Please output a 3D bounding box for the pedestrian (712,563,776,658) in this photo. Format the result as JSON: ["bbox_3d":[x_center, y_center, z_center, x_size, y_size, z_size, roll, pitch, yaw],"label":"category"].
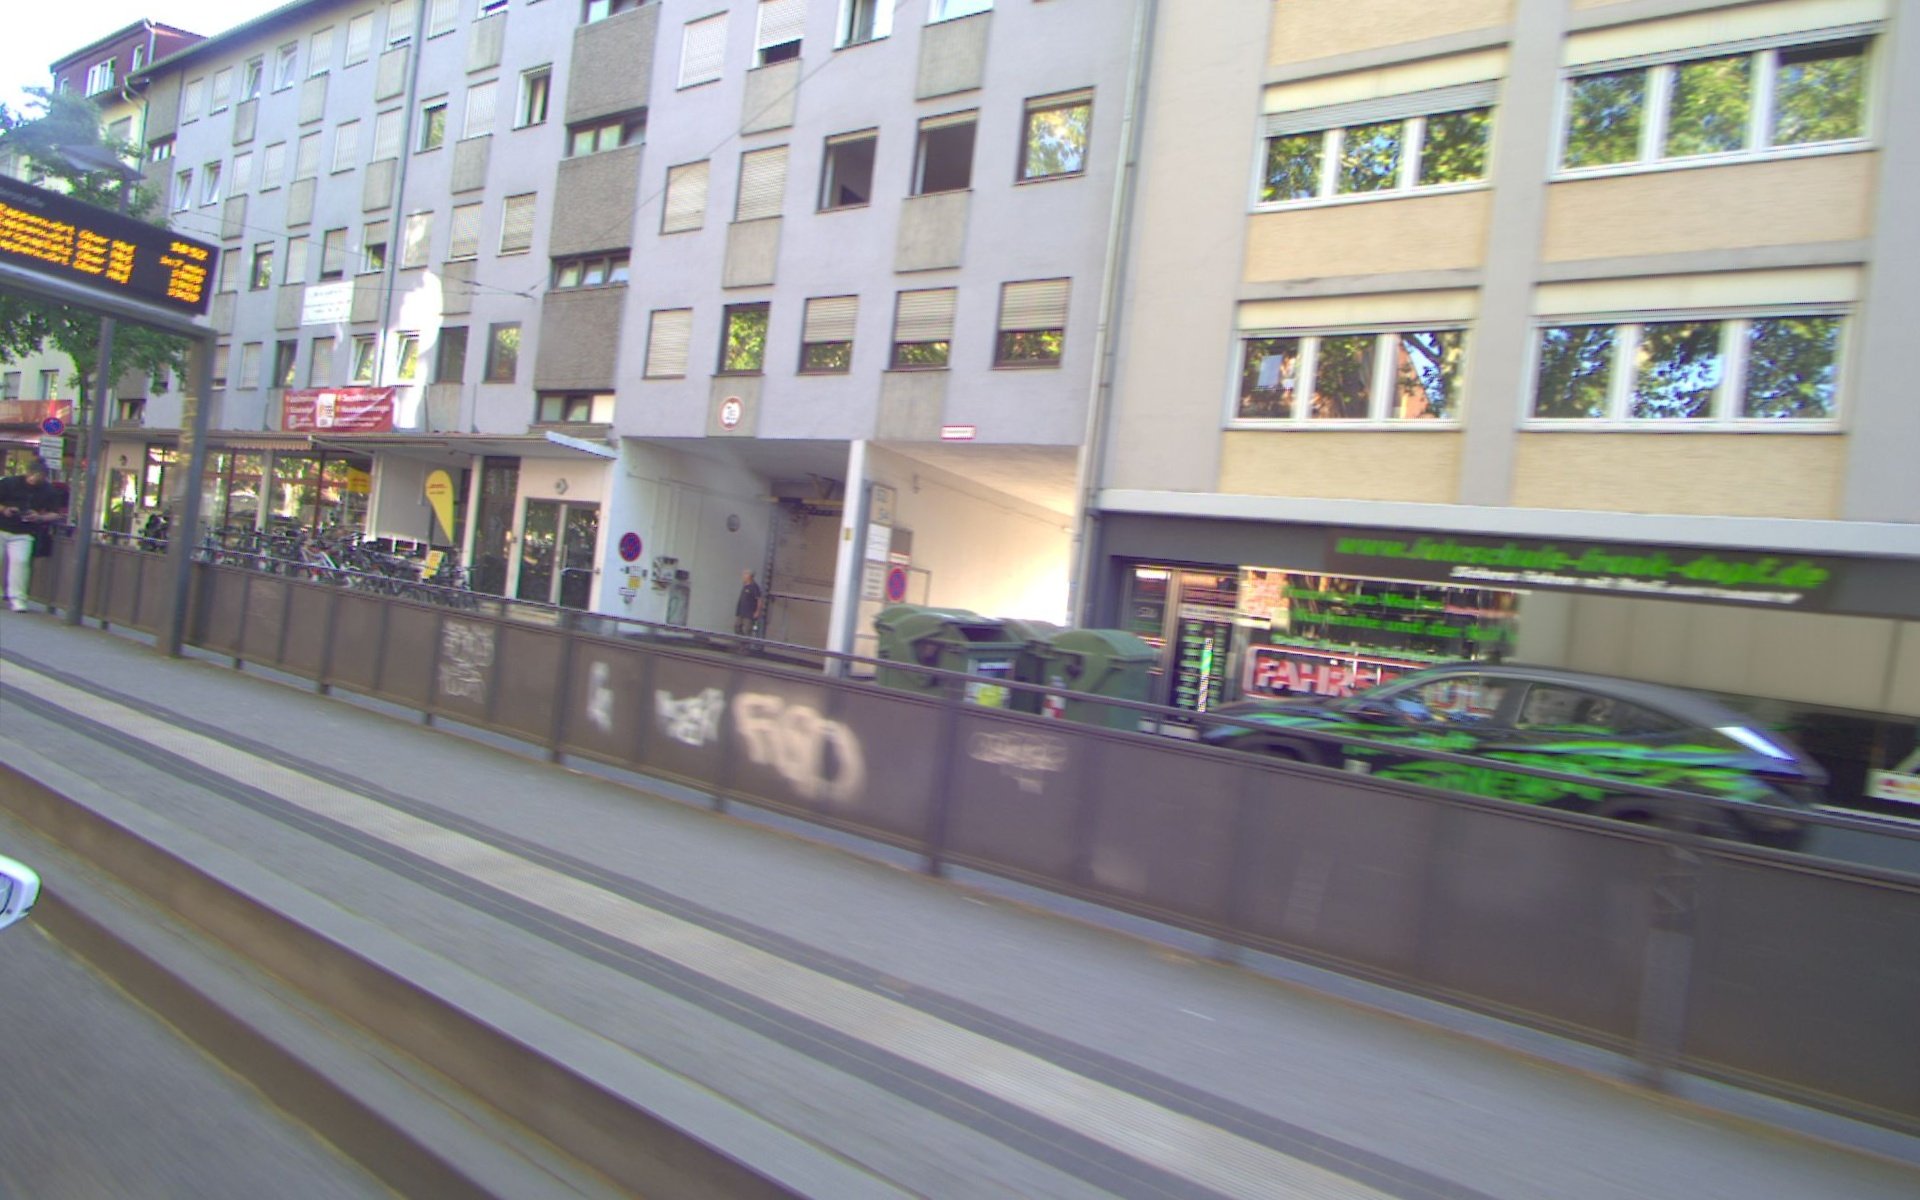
[{"bbox_3d":[-4.402,0.222,20.528,0.805,1.792,0.719,7,0,32],"label":"pedestrian"}]

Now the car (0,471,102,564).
[{"bbox_3d":[-24.058,-2.175,25.681,3.933,1.975,1.997,6,-1,31],"label":"car"}]

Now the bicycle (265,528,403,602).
[{"bbox_3d":[-12.480,-0.710,20.037,2.867,1.149,0.613,7,-1,20],"label":"bicycle"}]

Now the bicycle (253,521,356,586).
[{"bbox_3d":[-14.233,-1.006,21.845,2.163,1.149,0.599,7,-1,20],"label":"bicycle"}]

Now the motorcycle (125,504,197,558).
[{"bbox_3d":[-22.944,-1.989,28.871,2.009,1.295,0.893,6,-1,32],"label":"motorcycle"}]

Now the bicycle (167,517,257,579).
[{"bbox_3d":[-16.963,-1.185,22.795,2.165,1.149,0.599,6,-1,26],"label":"bicycle"}]

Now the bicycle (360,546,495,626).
[{"bbox_3d":[-9.648,-0.265,18.205,2.394,1.149,0.623,7,-1,20],"label":"bicycle"}]

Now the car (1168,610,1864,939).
[{"bbox_3d":[4.153,1.179,8.170,4.325,1.634,1.860,6,-2,32],"label":"car"}]

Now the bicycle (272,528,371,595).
[{"bbox_3d":[-13.298,-0.801,20.929,2.163,1.149,0.411,7,-1,20],"label":"bicycle"}]

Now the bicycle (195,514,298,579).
[{"bbox_3d":[-15.436,-1.165,21.761,2.163,1.149,0.599,7,-1,20],"label":"bicycle"}]

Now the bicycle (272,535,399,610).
[{"bbox_3d":[-11.890,-0.525,19.139,2.389,1.149,0.604,7,-1,20],"label":"bicycle"}]

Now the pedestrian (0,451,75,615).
[{"bbox_3d":[-9.939,-0.710,10.509,0.856,1.594,0.632,7,-2,32],"label":"pedestrian"}]
